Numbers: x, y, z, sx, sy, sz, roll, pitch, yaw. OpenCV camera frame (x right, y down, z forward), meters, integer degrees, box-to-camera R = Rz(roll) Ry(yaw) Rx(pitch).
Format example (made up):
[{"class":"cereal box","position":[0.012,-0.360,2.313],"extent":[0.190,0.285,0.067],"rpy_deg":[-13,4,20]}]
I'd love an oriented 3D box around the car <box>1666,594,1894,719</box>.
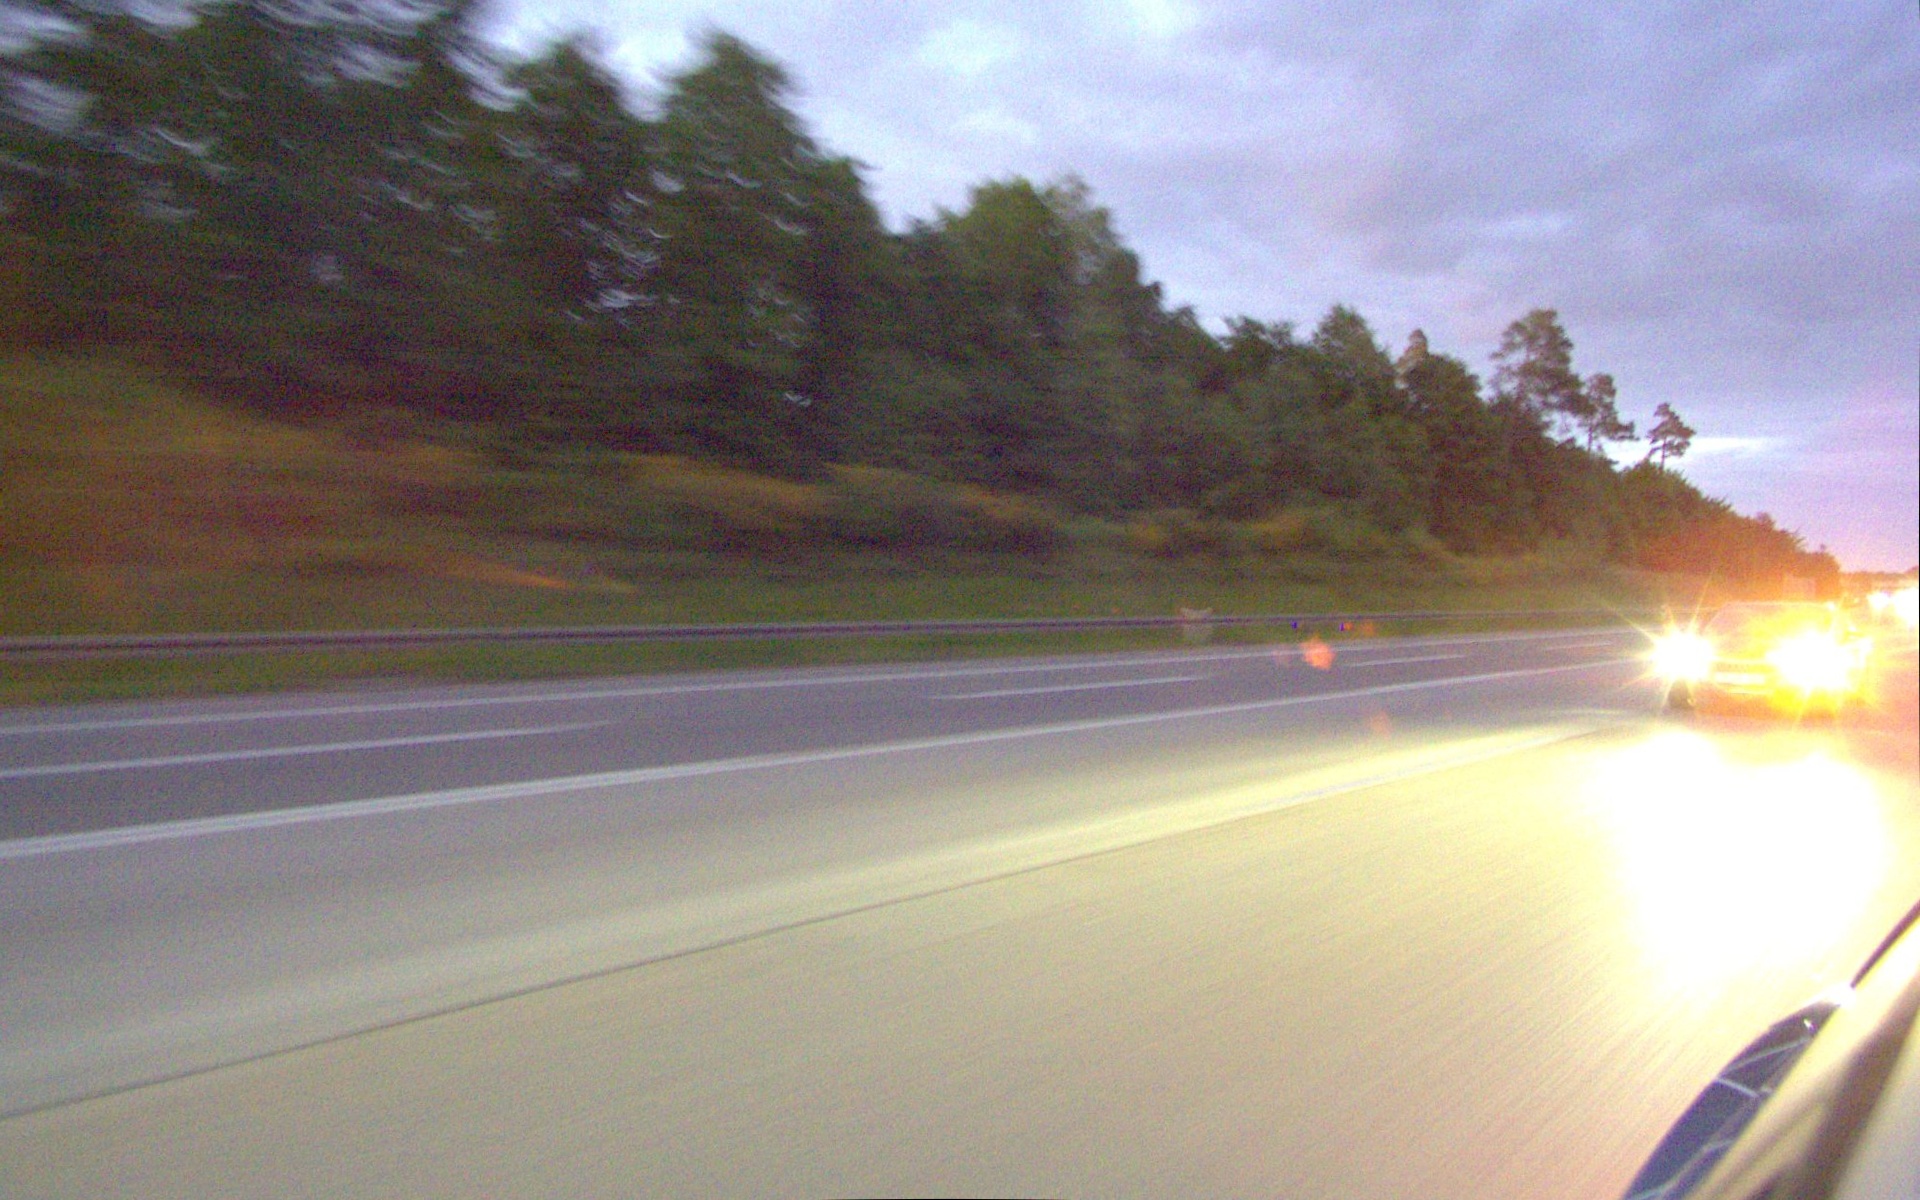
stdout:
[{"class":"car","position":[11.607,0.665,14.214],"extent":[4.375,1.461,1.877],"rpy_deg":[0,1,-43]}]

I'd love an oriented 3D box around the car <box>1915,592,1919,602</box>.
[{"class":"car","position":[149.029,-0.444,156.353],"extent":[3.932,1.568,1.996],"rpy_deg":[0,1,-43]}]
